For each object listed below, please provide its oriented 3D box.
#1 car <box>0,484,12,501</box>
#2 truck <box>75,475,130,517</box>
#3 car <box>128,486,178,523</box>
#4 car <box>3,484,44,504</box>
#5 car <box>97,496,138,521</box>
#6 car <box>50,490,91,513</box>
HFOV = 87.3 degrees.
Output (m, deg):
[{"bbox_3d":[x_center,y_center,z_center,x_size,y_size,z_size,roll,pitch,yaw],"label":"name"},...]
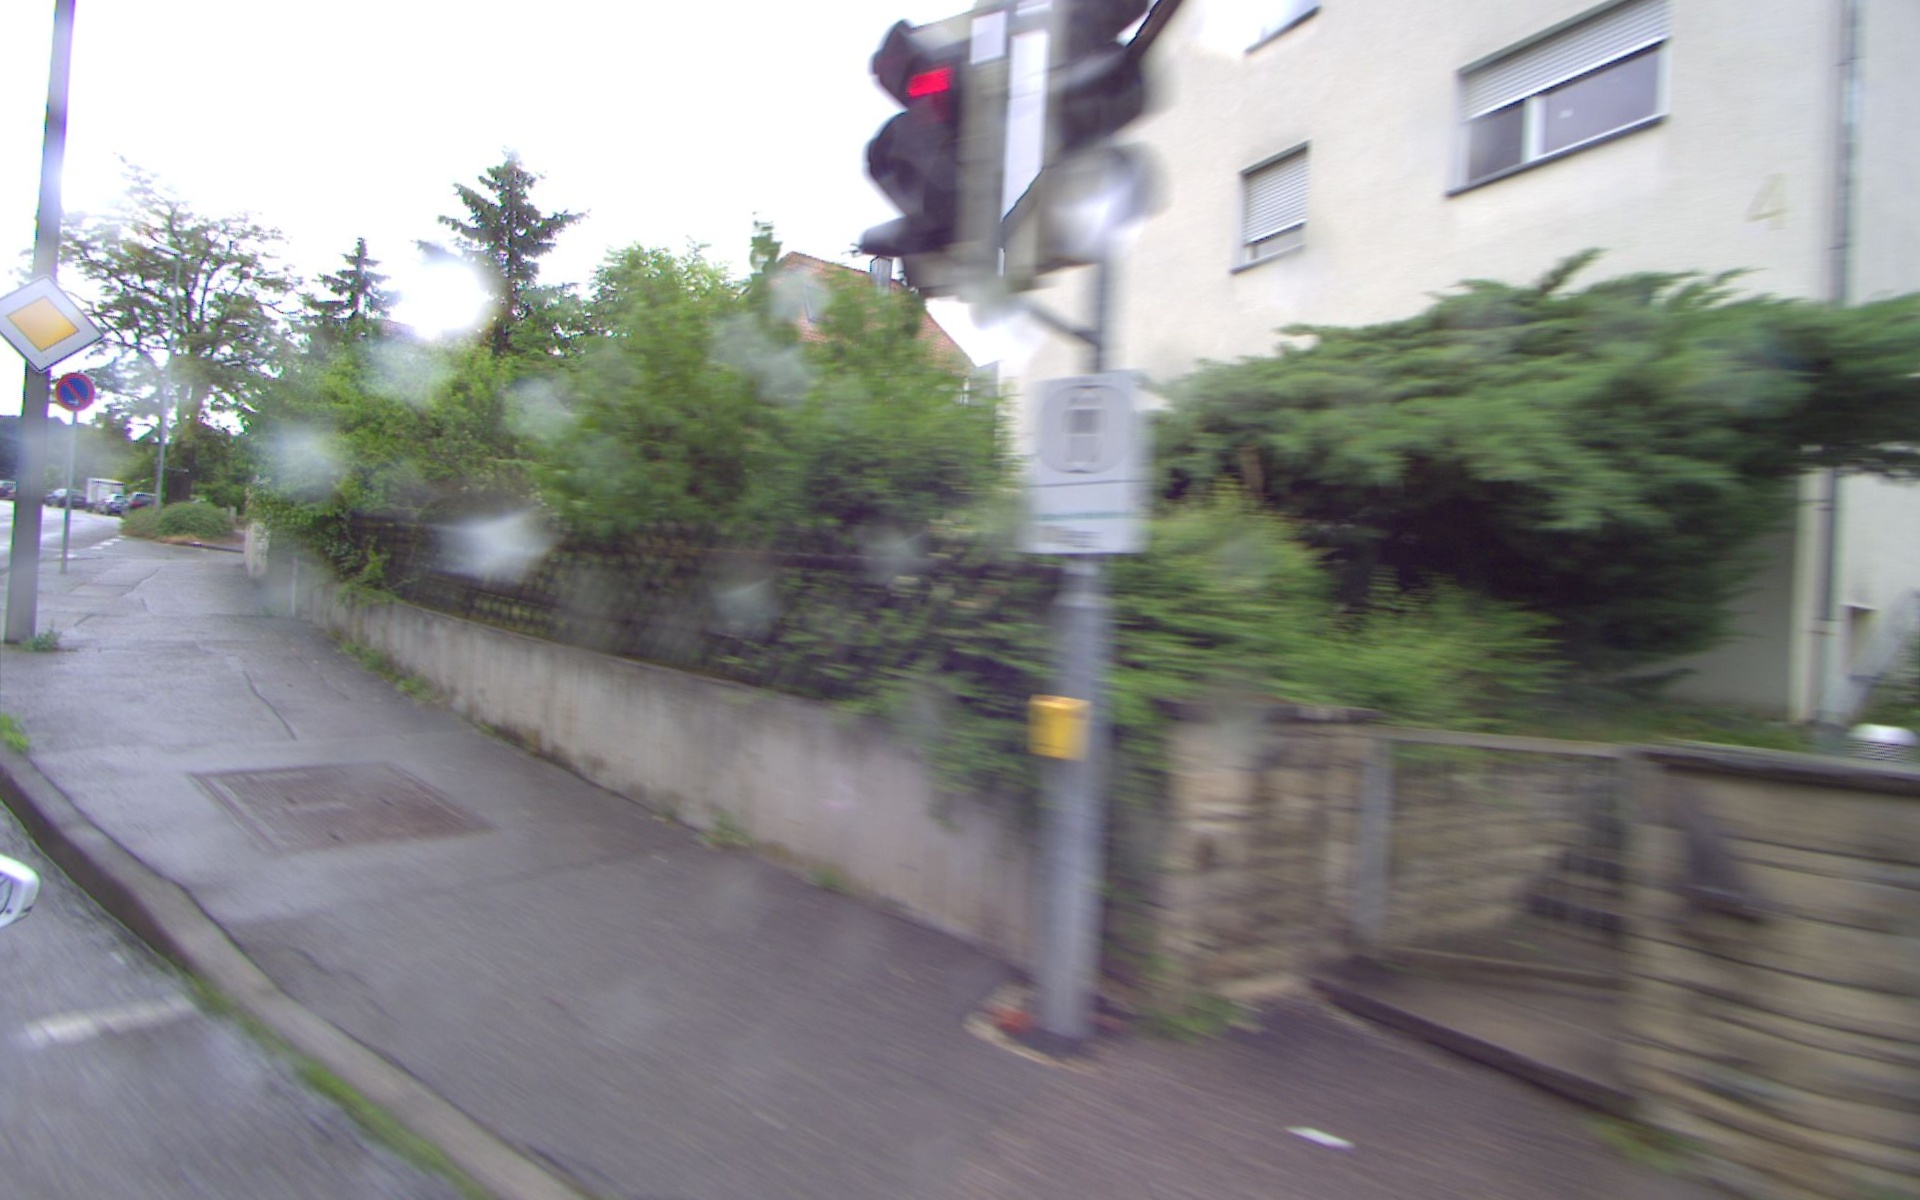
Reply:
[{"bbox_3d":[-85.193,-9.574,88.637,3.938,1.341,1.543,5,-4,35],"label":"car"},{"bbox_3d":[-62.879,-7.613,73.733,4.762,2.605,1.992,7,0,39],"label":"truck"},{"bbox_3d":[-47.529,-5.582,59.307,1.984,1.658,3.962,9,-4,-36],"label":"car"},{"bbox_3d":[-80.500,-9.137,86.451,3.801,1.341,1.544,5,-4,32],"label":"car"},{"bbox_3d":[-58.195,-6.322,69.461,3.944,1.343,1.538,7,1,41],"label":"car"},{"bbox_3d":[-70.471,-7.803,79.673,3.333,1.482,1.688,7,0,36],"label":"car"}]
